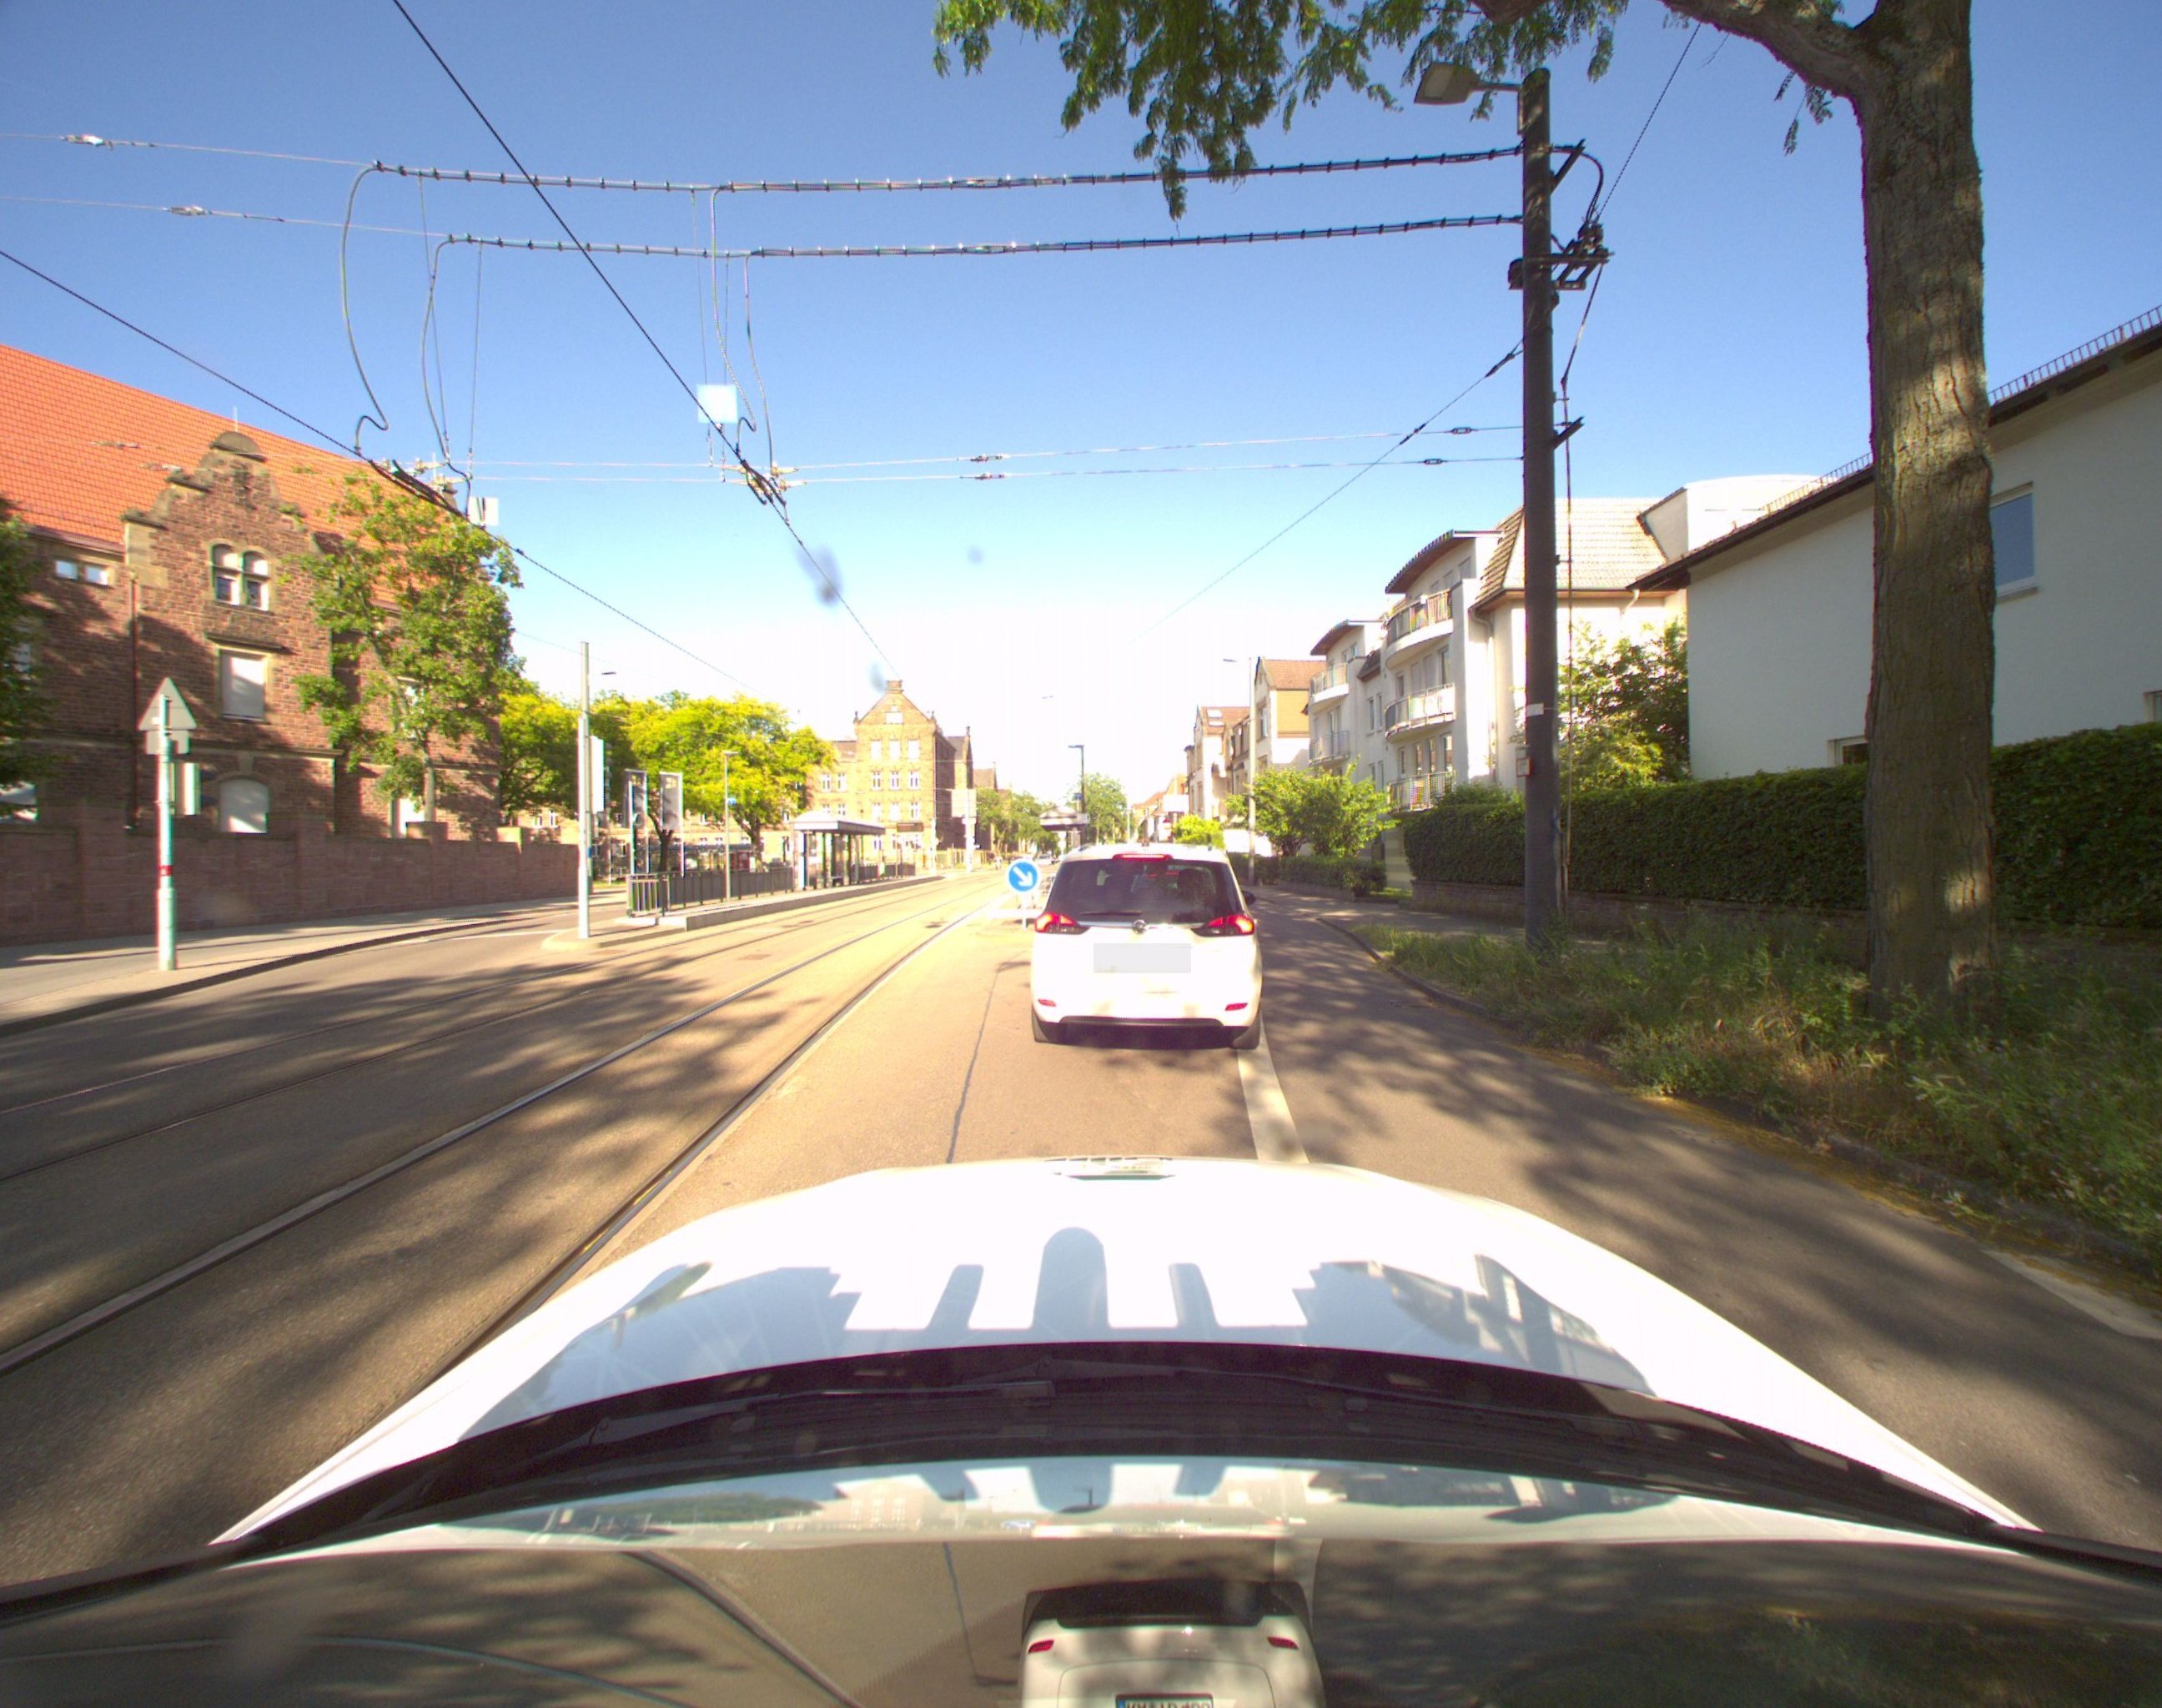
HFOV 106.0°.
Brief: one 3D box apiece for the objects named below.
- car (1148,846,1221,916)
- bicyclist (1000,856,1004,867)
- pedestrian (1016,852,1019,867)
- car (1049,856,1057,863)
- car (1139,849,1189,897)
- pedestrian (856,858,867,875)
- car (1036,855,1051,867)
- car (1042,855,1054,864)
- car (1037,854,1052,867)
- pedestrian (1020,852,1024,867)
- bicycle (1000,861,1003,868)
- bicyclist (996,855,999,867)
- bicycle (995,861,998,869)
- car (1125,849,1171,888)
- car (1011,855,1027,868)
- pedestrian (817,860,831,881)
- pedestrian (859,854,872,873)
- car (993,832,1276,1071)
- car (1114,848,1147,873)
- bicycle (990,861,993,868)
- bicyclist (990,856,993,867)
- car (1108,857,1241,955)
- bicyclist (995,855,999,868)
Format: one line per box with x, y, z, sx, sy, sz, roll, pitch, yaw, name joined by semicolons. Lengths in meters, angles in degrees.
2.573;0.635;20.890;1.630;1.601;3.859;-1;0;4;car
-10.660;0.992;109.600;0.443;1.553;0.495;-1;0;-2;bicyclist
-8.767;0.770;112.385;0.443;2.013;0.495;-1;0;-2;pedestrian
-6.701;1.246;193.274;1.989;1.629;3.984;-1;0;-3;car
2.943;0.632;29.316;1.630;1.601;3.859;-1;0;4;car
-19.686;1.122;73.020;0.799;1.588;0.934;0;-1;-1;pedestrian
-5.295;0.948;114.741;1.989;1.629;3.996;-1;0;-3;car
-5.745;0.931;143.204;1.987;1.629;4.000;-1;0;0;car
-4.814;0.887;107.618;1.989;1.629;3.996;-1;0;-3;car
-8.165;0.768;112.642;0.443;2.013;0.495;-1;0;-2;pedestrian
-10.659;1.459;109.605;0.343;0.950;0.996;0;-1;-1;bicycle
-10.978;0.974;107.021;0.443;1.553;0.495;-1;0;-2;bicyclist
-10.713;1.410;103.520;0.343;0.950;1.160;0;-1;-1;bicycle
2.930;0.607;36.246;1.824;1.579;4.012;-1;0;2;car
-8.190;0.919;107.477;1.989;1.629;3.996;-1;0;-3;car
-20.969;1.350;66.432;0.839;1.691;1.029;0;-1;1;pedestrian
-18.895;0.853;71.442;0.892;1.684;1.029;0;-1;1;pedestrian
0.643;0.681;7.700;1.982;1.644;4.003;0;0;8;car
3.102;0.381;51.840;1.986;1.503;4.002;-1;0;2;car
-12.676;1.522;115.633;0.343;0.950;0.996;0;-1;-1;bicycle
-12.683;1.054;115.599;0.443;1.553;0.495;-1;0;-2;bicyclist
1.531;0.788;14.062;1.944;1.397;4.005;-1;0;4;car
-10.705;0.944;103.731;0.443;1.553;0.742;-1;0;-2;bicyclist
